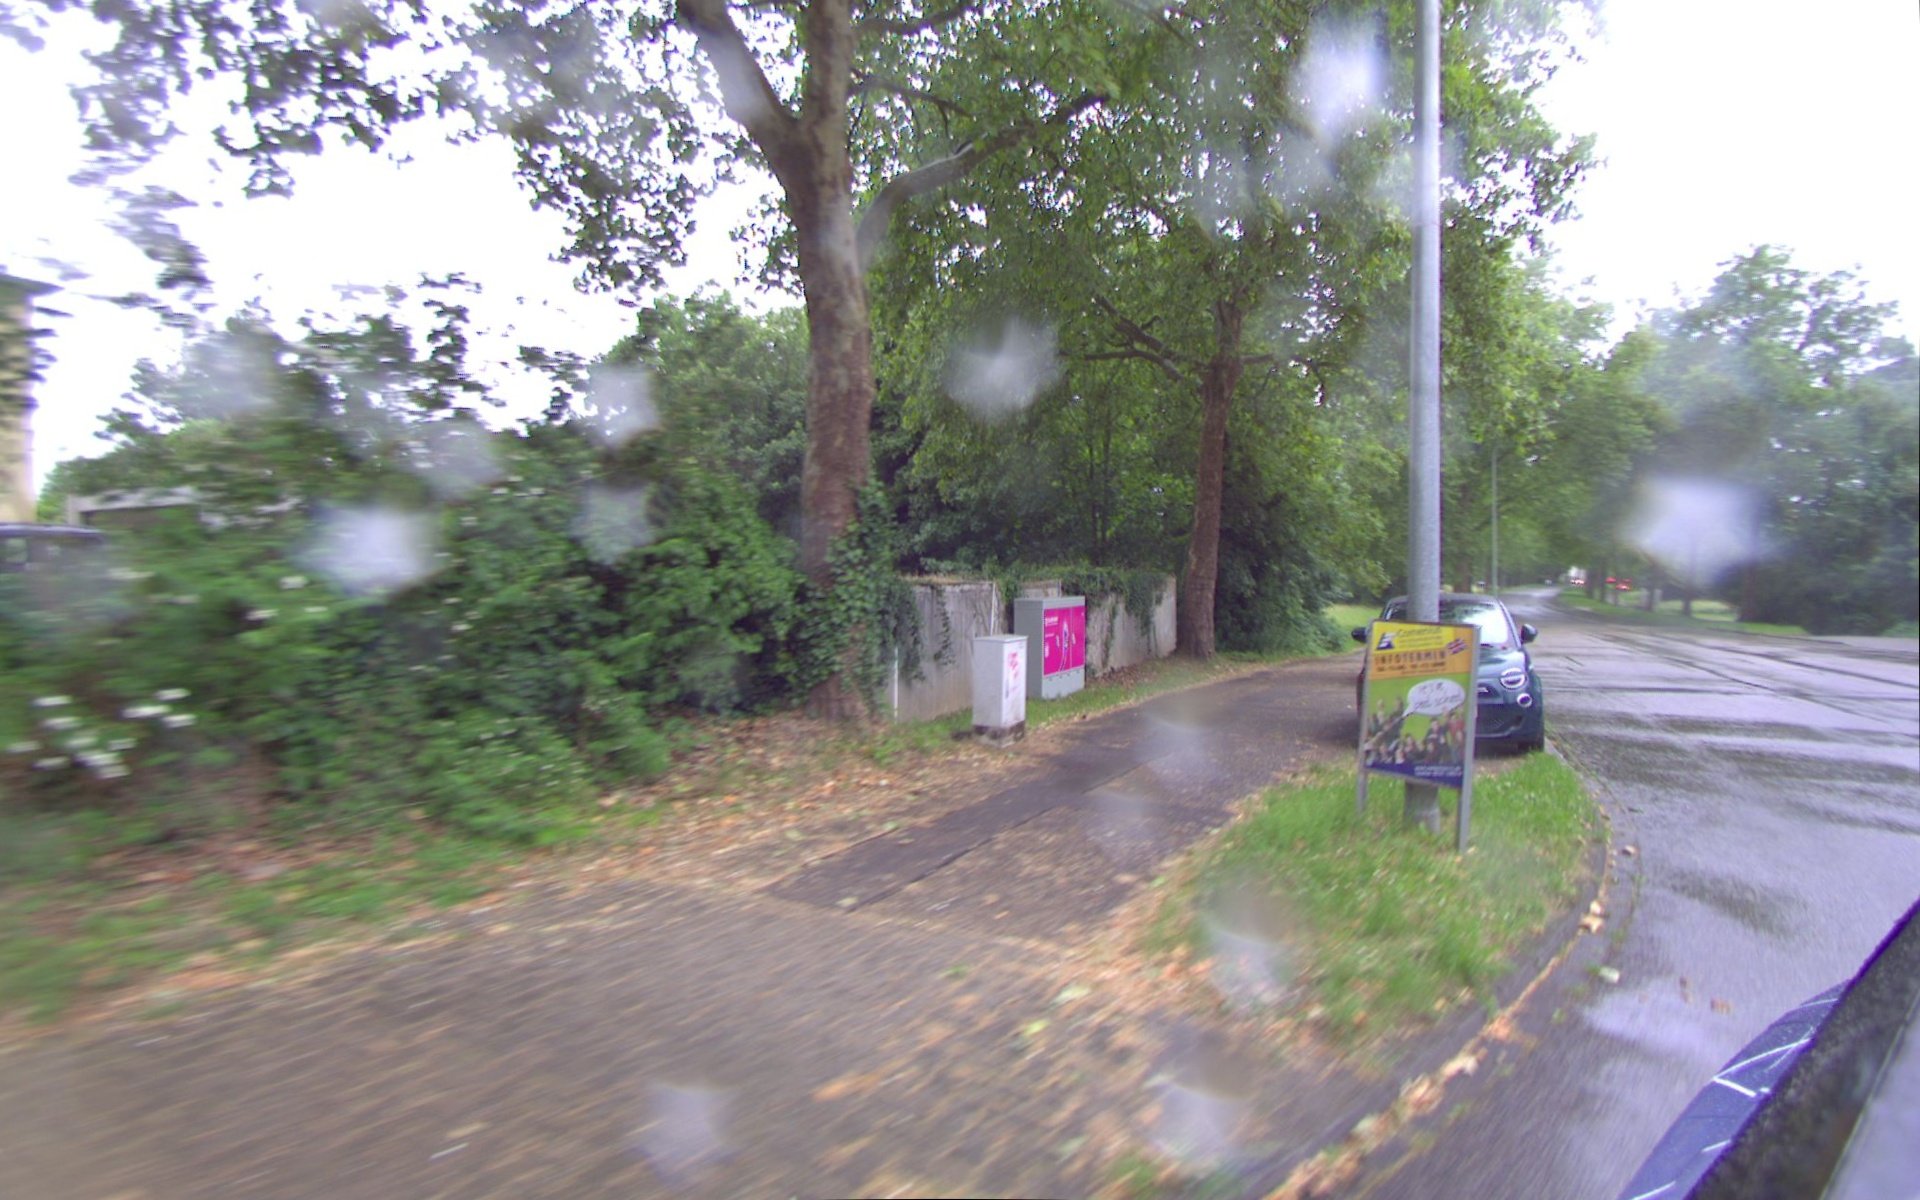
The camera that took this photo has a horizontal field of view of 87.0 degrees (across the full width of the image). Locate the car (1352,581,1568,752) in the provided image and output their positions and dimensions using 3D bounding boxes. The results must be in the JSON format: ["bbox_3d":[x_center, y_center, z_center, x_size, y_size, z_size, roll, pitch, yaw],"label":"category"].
[{"bbox_3d":[5.341,0.591,10.957,1.737,1.510,3.568,-2,0,26],"label":"car"}]

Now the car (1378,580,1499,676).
[{"bbox_3d":[9.279,0.549,19.848,1.804,1.537,3.712,-7,-4,23],"label":"car"}]

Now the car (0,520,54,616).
[{"bbox_3d":[-16.084,-0.487,15.200,1.477,1.489,3.399,2,3,27],"label":"car"}]

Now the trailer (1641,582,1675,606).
[{"bbox_3d":[83.670,-0.741,121.437,2.785,2.696,6.581,2,3,31],"label":"trailer"}]

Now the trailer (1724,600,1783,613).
[{"bbox_3d":[80.530,0.620,102.799,4.292,1.045,2.359,2,3,29],"label":"trailer"}]
